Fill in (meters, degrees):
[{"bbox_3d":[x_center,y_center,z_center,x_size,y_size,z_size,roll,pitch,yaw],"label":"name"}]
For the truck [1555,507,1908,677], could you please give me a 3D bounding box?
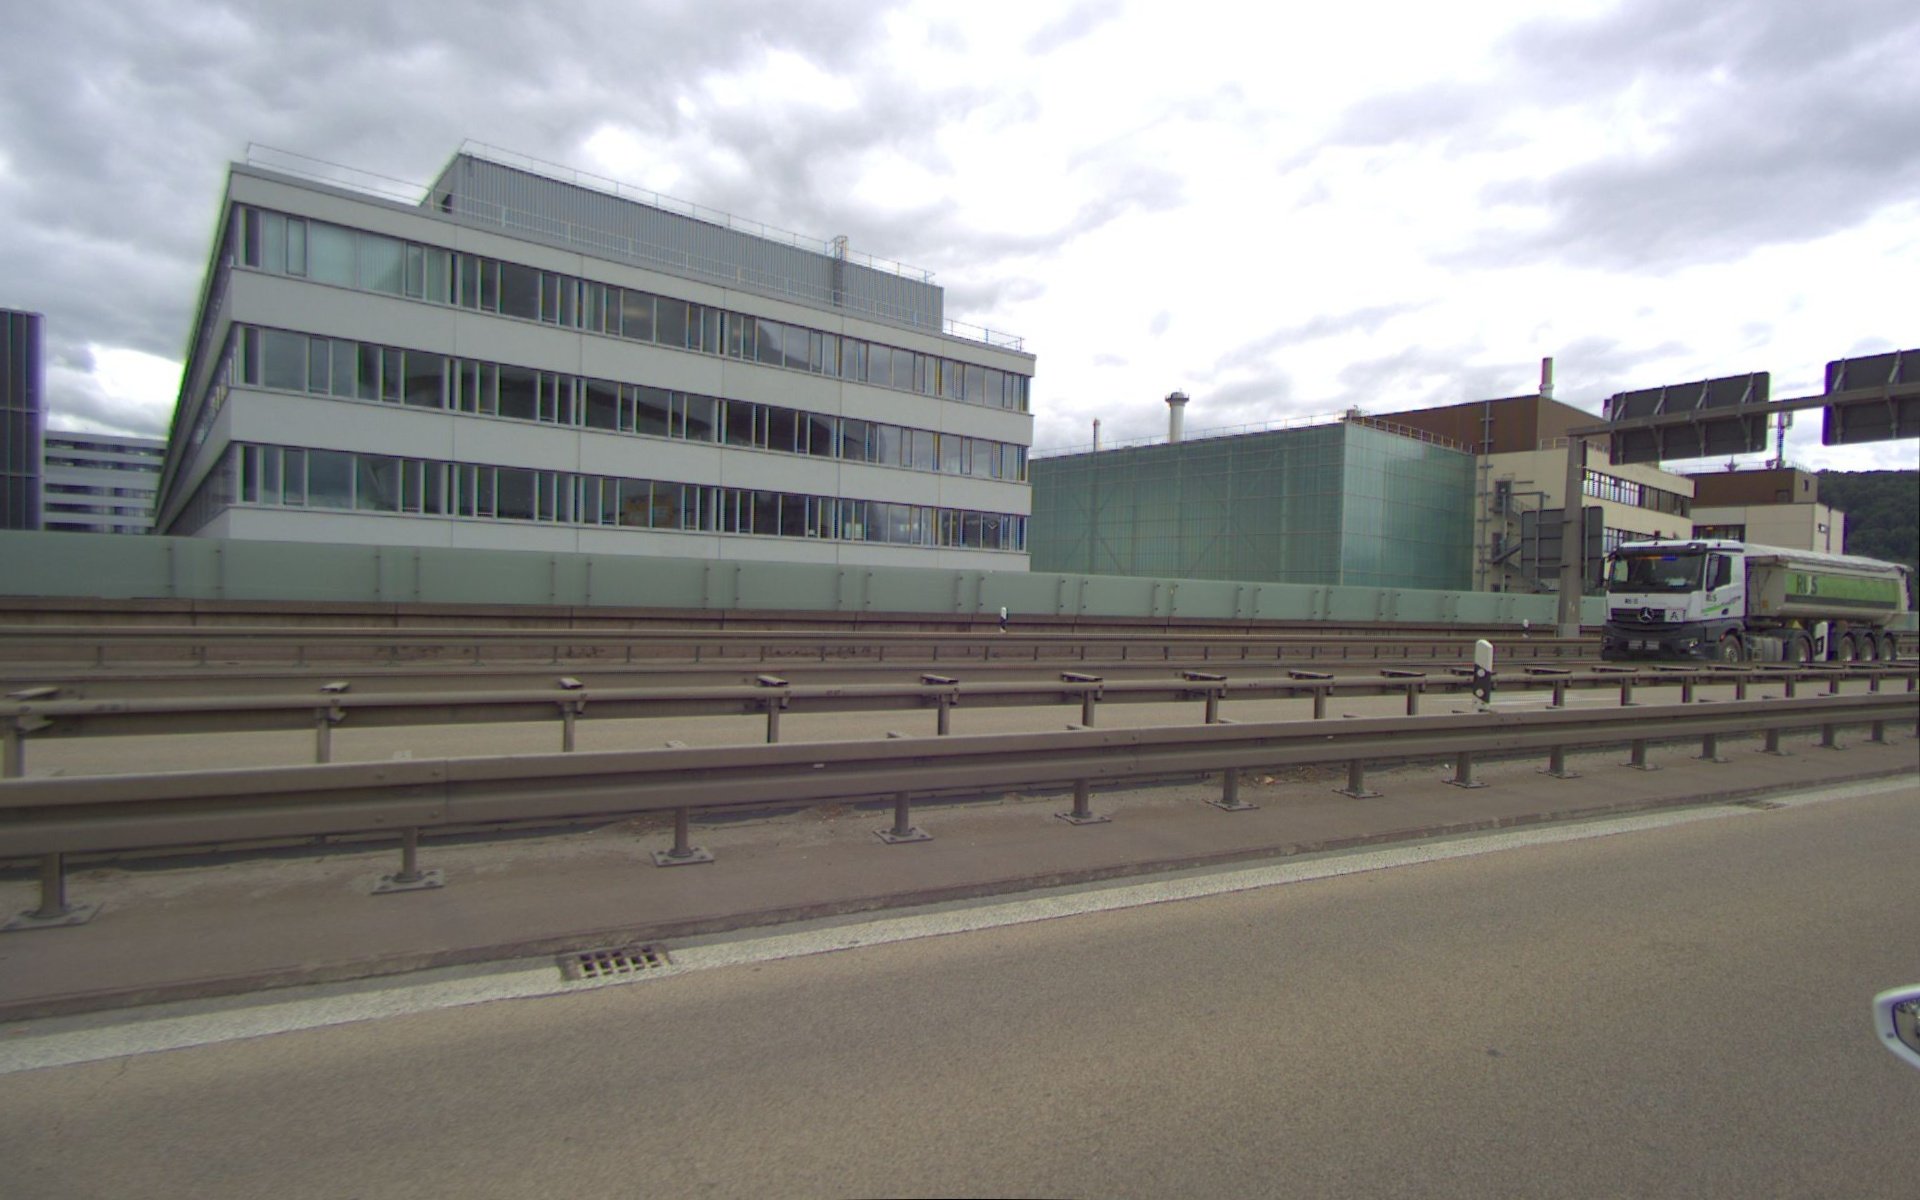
[{"bbox_3d":[21.138,0.016,27.114,12.370,3.826,3.043,2,-1,-30],"label":"truck"}]
